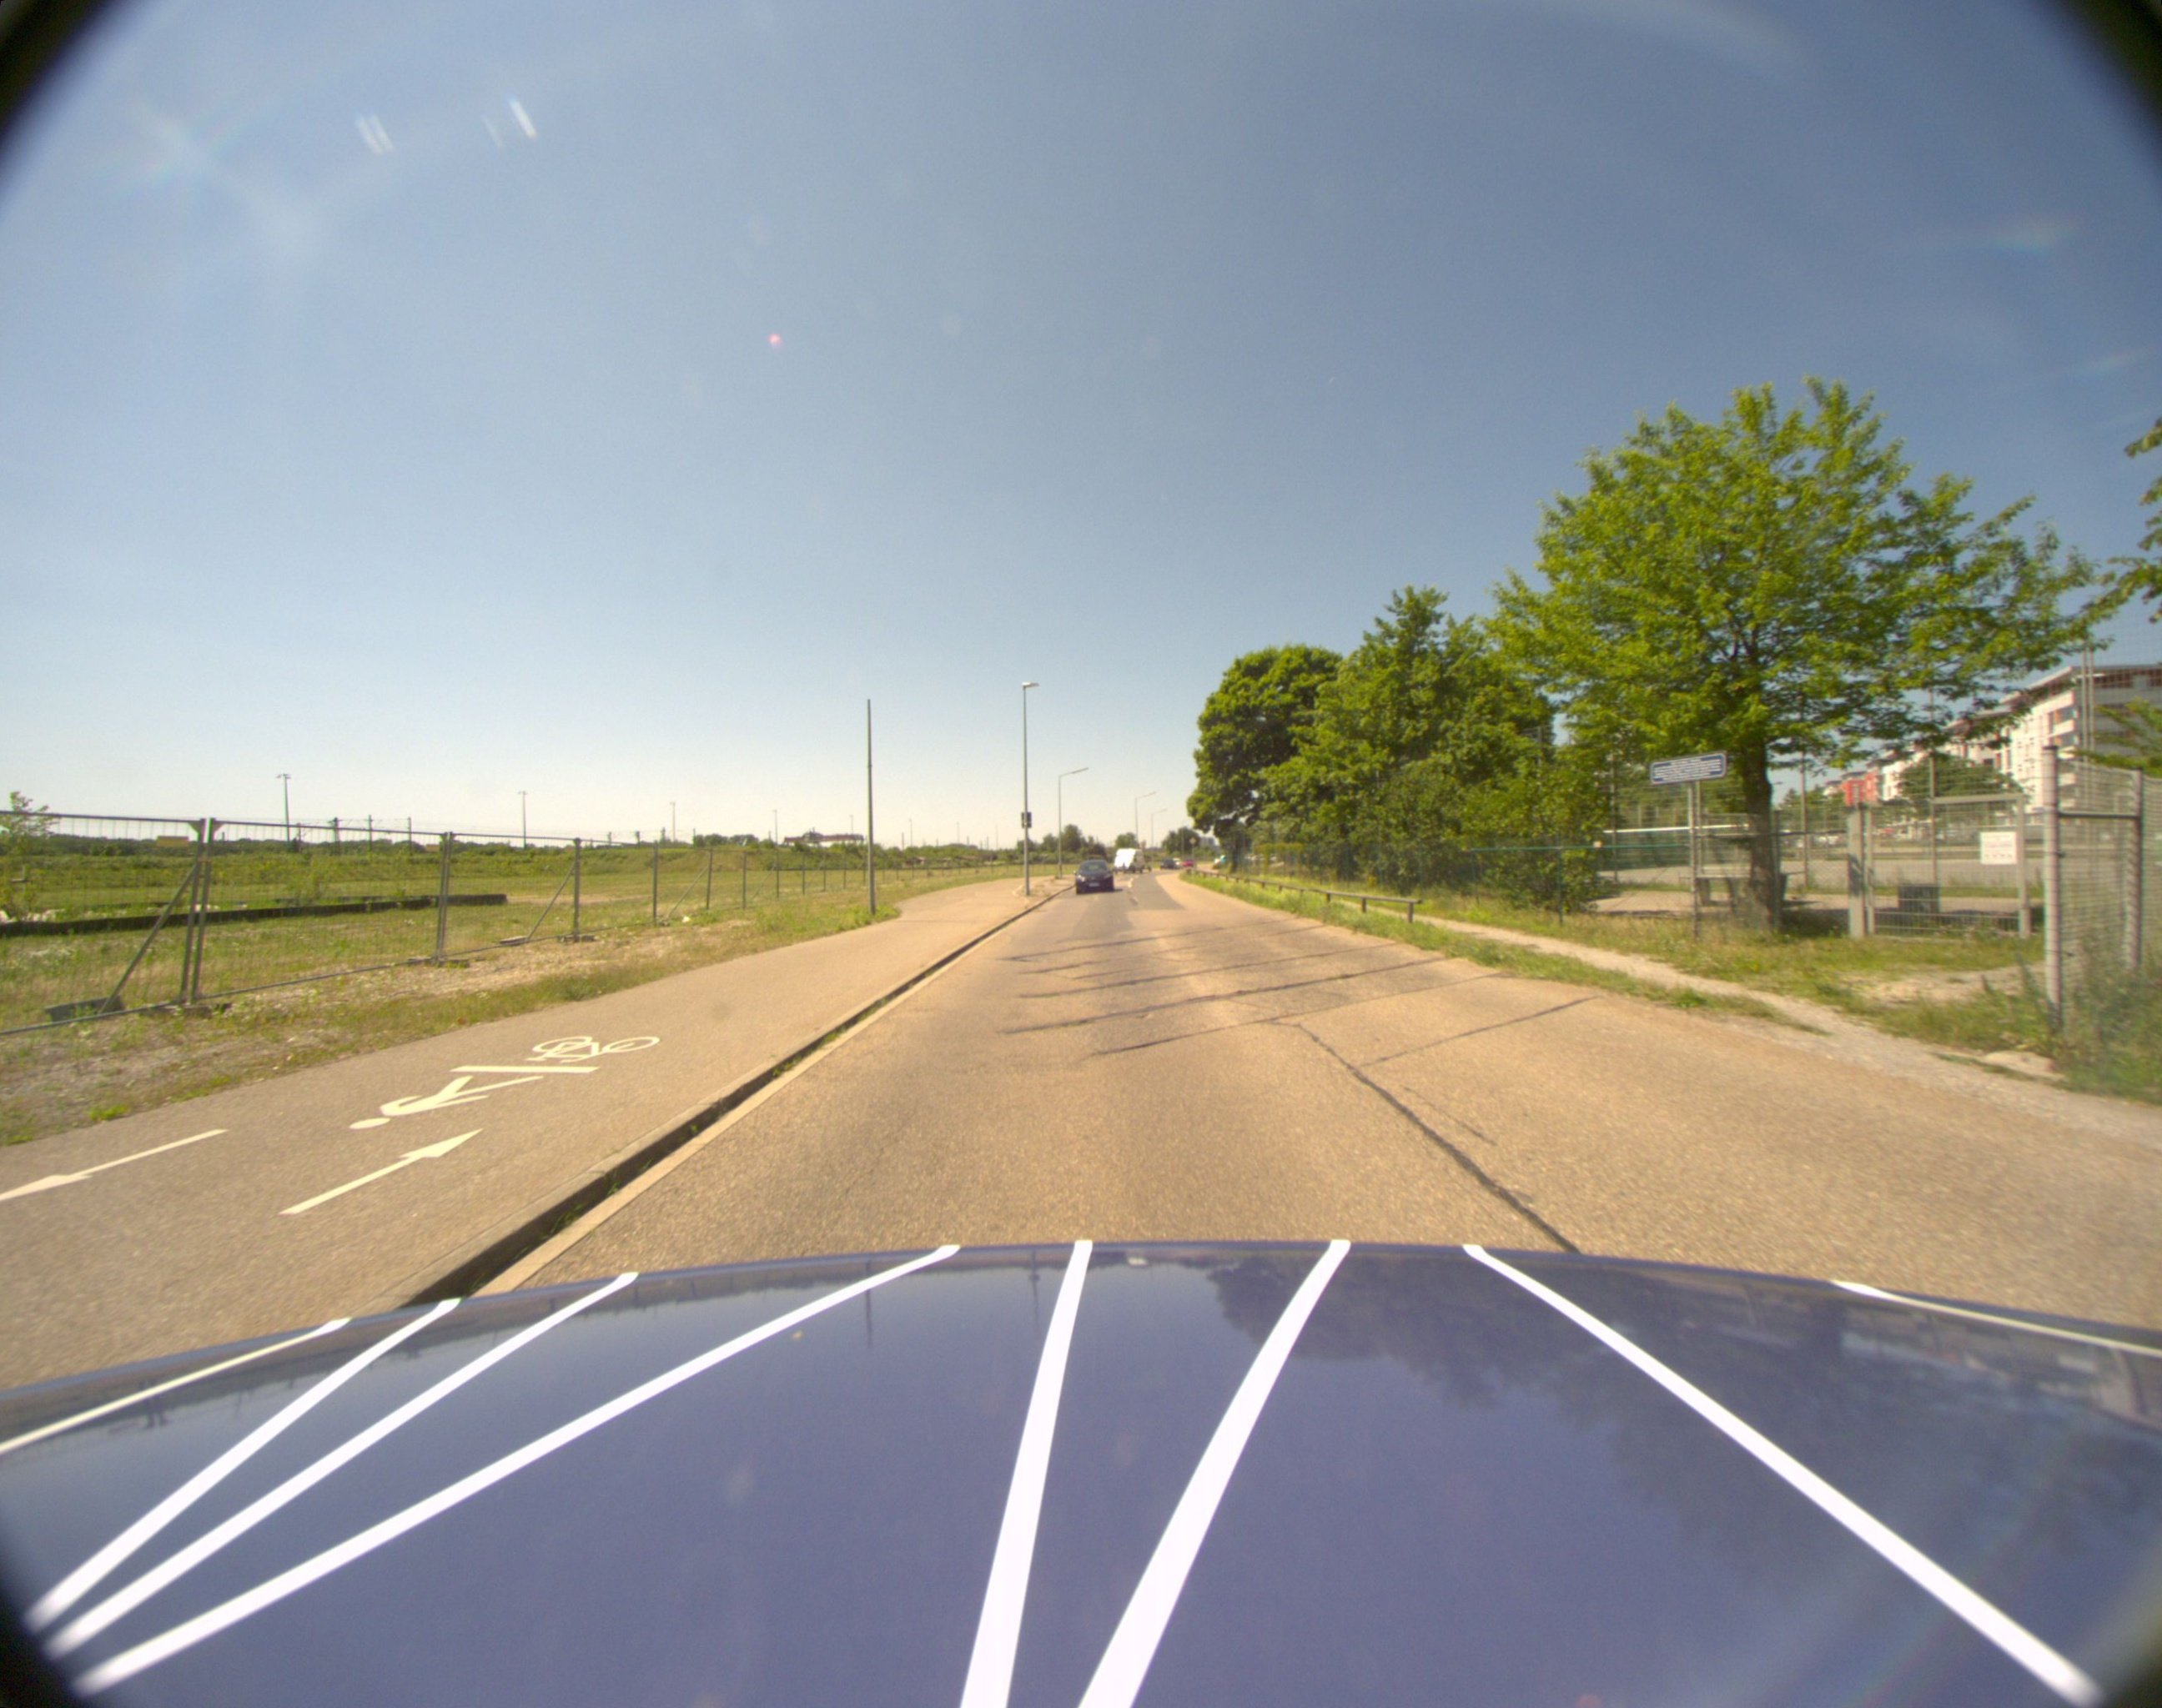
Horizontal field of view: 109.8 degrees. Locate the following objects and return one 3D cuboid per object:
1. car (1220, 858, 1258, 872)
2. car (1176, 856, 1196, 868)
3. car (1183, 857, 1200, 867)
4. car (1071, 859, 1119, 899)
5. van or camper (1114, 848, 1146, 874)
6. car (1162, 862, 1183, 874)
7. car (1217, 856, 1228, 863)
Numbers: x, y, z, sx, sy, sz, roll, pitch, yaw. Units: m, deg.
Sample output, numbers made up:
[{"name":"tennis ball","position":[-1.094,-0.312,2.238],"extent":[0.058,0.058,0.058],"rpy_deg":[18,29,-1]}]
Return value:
[{"name":"car","position":[18.071,1.233,86.995],"extent":[3.991,1.543,1.894],"rpy_deg":[-2,0,21]},{"name":"car","position":[14.613,1.110,106.014],"extent":[1.651,1.458,3.873],"rpy_deg":[-1,0,25]},{"name":"car","position":[17.044,1.239,117.242],"extent":[1.651,1.458,3.872],"rpy_deg":[-2,0,22]},{"name":"car","position":[0.691,1.026,33.037],"extent":[1.653,1.458,4.161],"rpy_deg":[-6,-1,5]},{"name":"van or camper","position":[5.103,0.721,78.742],"extent":[2.139,2.558,5.873],"rpy_deg":[-2,0,15]},{"name":"car","position":[12.063,1.867,100.339],"extent":[1.651,1.458,3.872],"rpy_deg":[-2,0,23]},{"name":"car","position":[29.757,1.171,159.748],"extent":[1.652,1.458,3.871],"rpy_deg":[-2,0,18]}]
